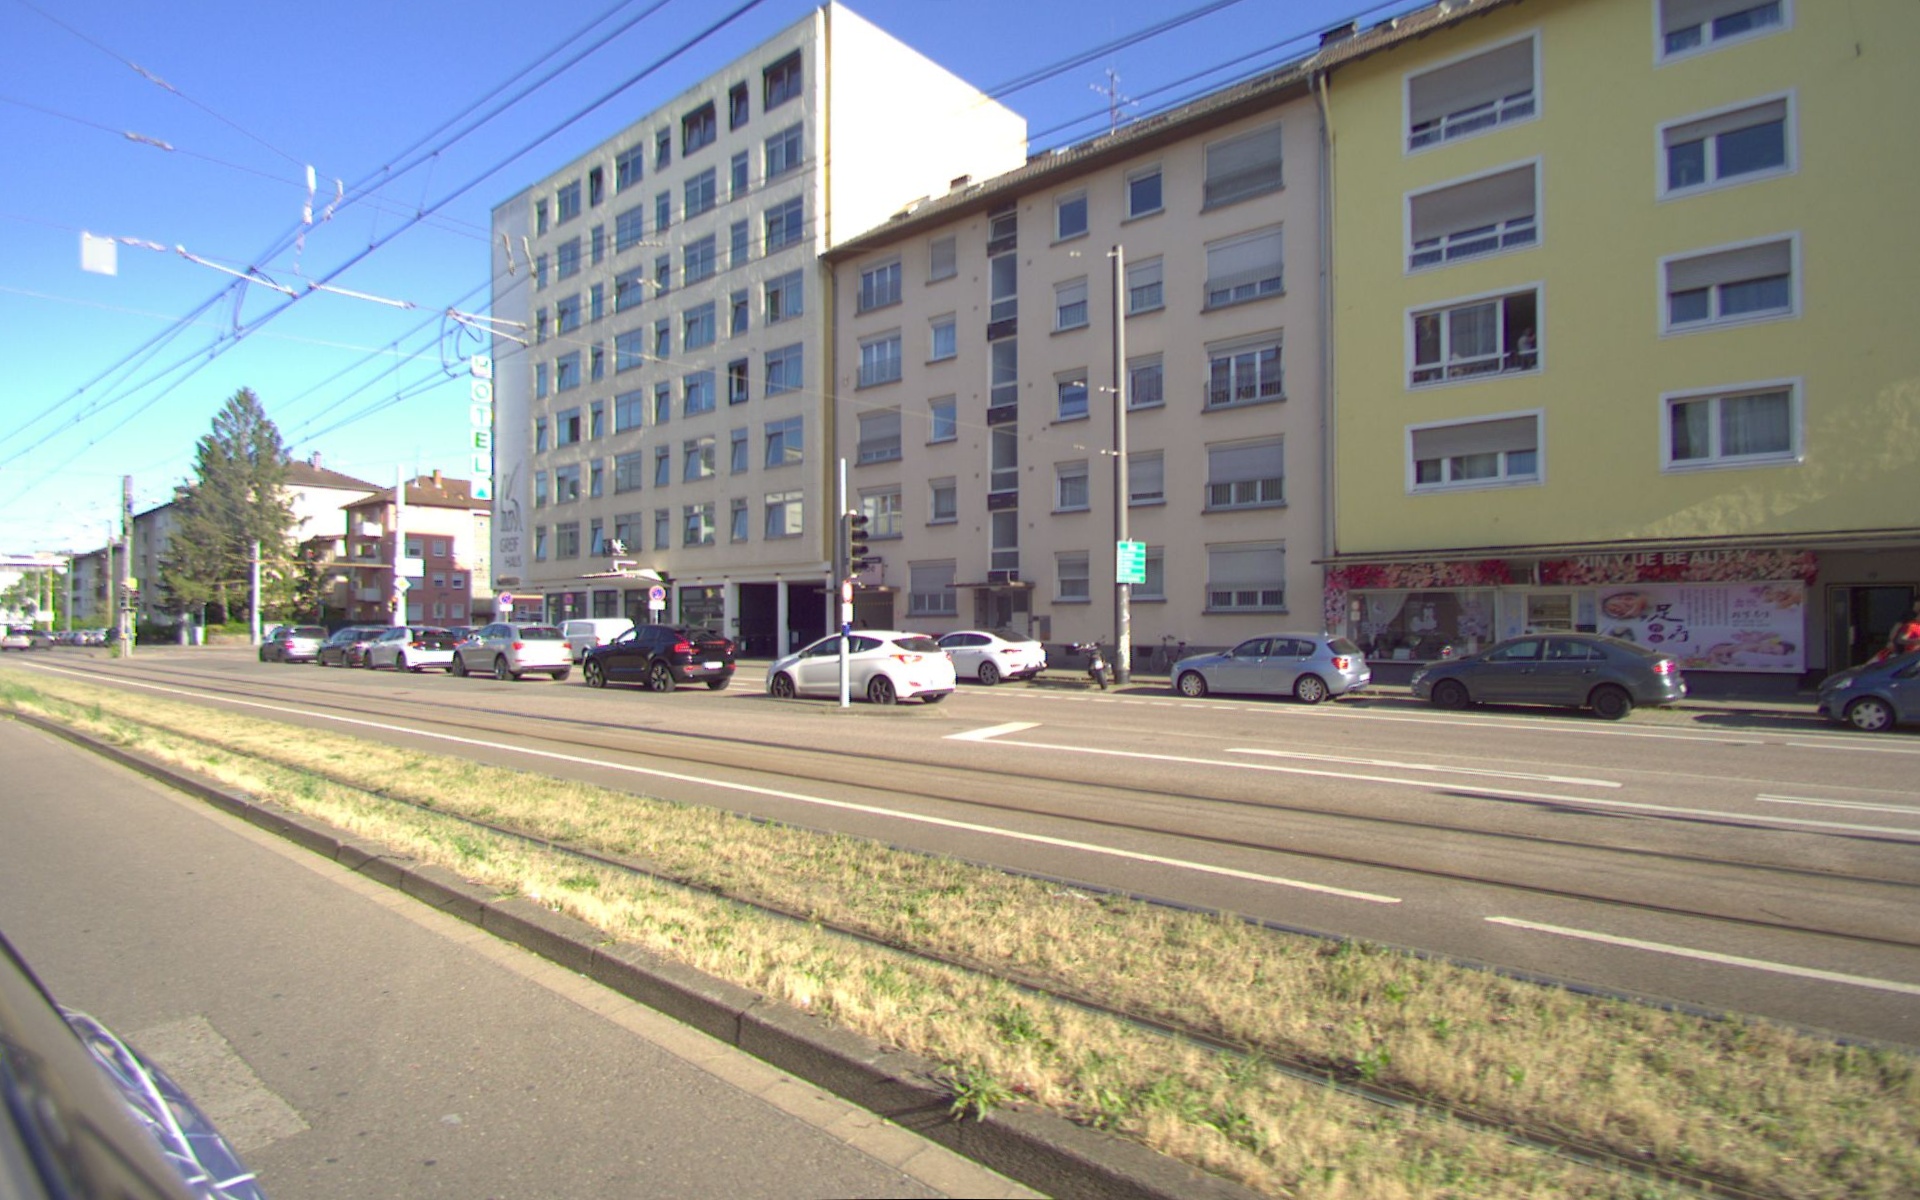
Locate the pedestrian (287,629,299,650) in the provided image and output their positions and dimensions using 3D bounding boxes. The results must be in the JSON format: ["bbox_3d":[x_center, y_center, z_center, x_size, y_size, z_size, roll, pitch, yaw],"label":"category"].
[{"bbox_3d":[-50.752,3.010,77.028,0.510,1.618,0.607,-2,1,39],"label":"pedestrian"}]

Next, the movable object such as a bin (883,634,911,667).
[{"bbox_3d":[-2.149,1.728,34.725,0.546,1.059,0.764,-2,1,41],"label":"movable object such as a bin"}]

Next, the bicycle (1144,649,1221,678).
[{"bbox_3d":[6.065,1.733,27.641,1.995,0.698,0.595,-1,1,42],"label":"bicycle"}]

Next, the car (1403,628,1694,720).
[{"bbox_3d":[10.849,1.290,18.850,4.413,1.431,1.764,-1,1,41],"label":"car"}]

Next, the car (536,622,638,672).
[{"bbox_3d":[-15.891,1.949,43.042,4.665,1.912,1.974,-1,1,39],"label":"car"}]

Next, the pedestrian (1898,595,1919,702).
[{"bbox_3d":[16.402,0.805,17.026,0.844,1.756,0.664,-2,1,41],"label":"pedestrian"}]

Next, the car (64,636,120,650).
[{"bbox_3d":[-86.289,4.244,100.638,1.737,1.342,3.946,-2,-3,40],"label":"car"}]

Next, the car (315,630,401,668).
[{"bbox_3d":[-26.427,2.126,44.392,3.996,1.571,1.974,-1,-2,39],"label":"car"}]

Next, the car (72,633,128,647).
[{"bbox_3d":[-83.241,3.845,97.969,1.737,1.342,3.946,-2,-3,40],"label":"car"}]

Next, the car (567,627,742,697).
[{"bbox_3d":[-7.426,1.453,24.451,4.406,1.540,1.767,-2,-3,36],"label":"car"}]

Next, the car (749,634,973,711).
[{"bbox_3d":[-2.056,1.390,20.407,4.405,1.395,1.817,-2,-3,36],"label":"car"}]

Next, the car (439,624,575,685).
[{"bbox_3d":[-13.028,1.524,28.983,4.605,1.593,1.764,-2,-3,41],"label":"car"}]

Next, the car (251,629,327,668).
[{"bbox_3d":[-28.136,2.034,42.417,3.998,1.571,1.596,-2,-4,41],"label":"car"}]

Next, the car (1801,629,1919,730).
[{"bbox_3d":[15.154,1.186,15.255,3.766,1.395,1.764,-1,1,41],"label":"car"}]

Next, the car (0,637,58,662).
[{"bbox_3d":[-61.413,3.257,66.566,1.693,1.397,3.725,-2,1,-18],"label":"car"}]

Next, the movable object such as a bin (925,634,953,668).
[{"bbox_3d":[-0.699,1.690,33.443,0.546,1.059,0.764,-2,1,41],"label":"movable object such as a bin"}]

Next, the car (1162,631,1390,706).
[{"bbox_3d":[6.833,1.415,22.159,4.410,1.395,1.765,-1,1,39],"label":"car"}]

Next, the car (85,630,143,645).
[{"bbox_3d":[-79.505,3.490,95.129,1.737,1.342,3.946,-2,-3,40],"label":"car"}]

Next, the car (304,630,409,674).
[{"bbox_3d":[-22.737,1.930,38.093,4.362,1.562,1.974,-1,-4,39],"label":"car"}]

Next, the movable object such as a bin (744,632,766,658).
[{"bbox_3d":[-8.560,1.885,42.298,0.775,1.059,0.538,-2,-3,43],"label":"movable object such as a bin"}]

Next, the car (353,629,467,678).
[{"bbox_3d":[-18.350,1.764,33.728,4.236,1.562,1.838,-1,-4,39],"label":"car"}]

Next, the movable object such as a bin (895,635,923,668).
[{"bbox_3d":[-1.718,1.728,34.341,0.546,1.059,0.764,-2,1,41],"label":"movable object such as a bin"}]

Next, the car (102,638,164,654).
[{"bbox_3d":[-71.682,3.962,87.733,1.737,1.342,3.946,-2,-3,40],"label":"car"}]

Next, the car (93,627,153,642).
[{"bbox_3d":[-75.742,3.150,91.615,1.737,1.342,3.946,-2,-3,40],"label":"car"}]

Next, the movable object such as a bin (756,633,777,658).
[{"bbox_3d":[-8.166,1.919,42.721,0.775,1.059,0.538,-2,-3,43],"label":"movable object such as a bin"}]

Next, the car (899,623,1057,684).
[{"bbox_3d":[0.431,1.417,27.837,4.197,1.497,1.740,-1,1,41],"label":"car"}]

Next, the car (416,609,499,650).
[{"bbox_3d":[-19.587,1.146,39.423,3.568,1.512,1.551,-1,-4,39],"label":"car"}]

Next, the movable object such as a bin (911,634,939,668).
[{"bbox_3d":[-1.170,1.697,33.855,0.546,1.059,0.764,-2,1,41],"label":"movable object such as a bin"}]

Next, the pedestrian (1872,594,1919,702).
[{"bbox_3d":[16.874,0.838,17.990,0.923,1.874,0.664,-2,1,41],"label":"pedestrian"}]

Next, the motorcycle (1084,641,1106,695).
[{"bbox_3d":[3.365,1.665,25.203,0.481,1.147,2.107,-2,1,8],"label":"motorcycle"}]
